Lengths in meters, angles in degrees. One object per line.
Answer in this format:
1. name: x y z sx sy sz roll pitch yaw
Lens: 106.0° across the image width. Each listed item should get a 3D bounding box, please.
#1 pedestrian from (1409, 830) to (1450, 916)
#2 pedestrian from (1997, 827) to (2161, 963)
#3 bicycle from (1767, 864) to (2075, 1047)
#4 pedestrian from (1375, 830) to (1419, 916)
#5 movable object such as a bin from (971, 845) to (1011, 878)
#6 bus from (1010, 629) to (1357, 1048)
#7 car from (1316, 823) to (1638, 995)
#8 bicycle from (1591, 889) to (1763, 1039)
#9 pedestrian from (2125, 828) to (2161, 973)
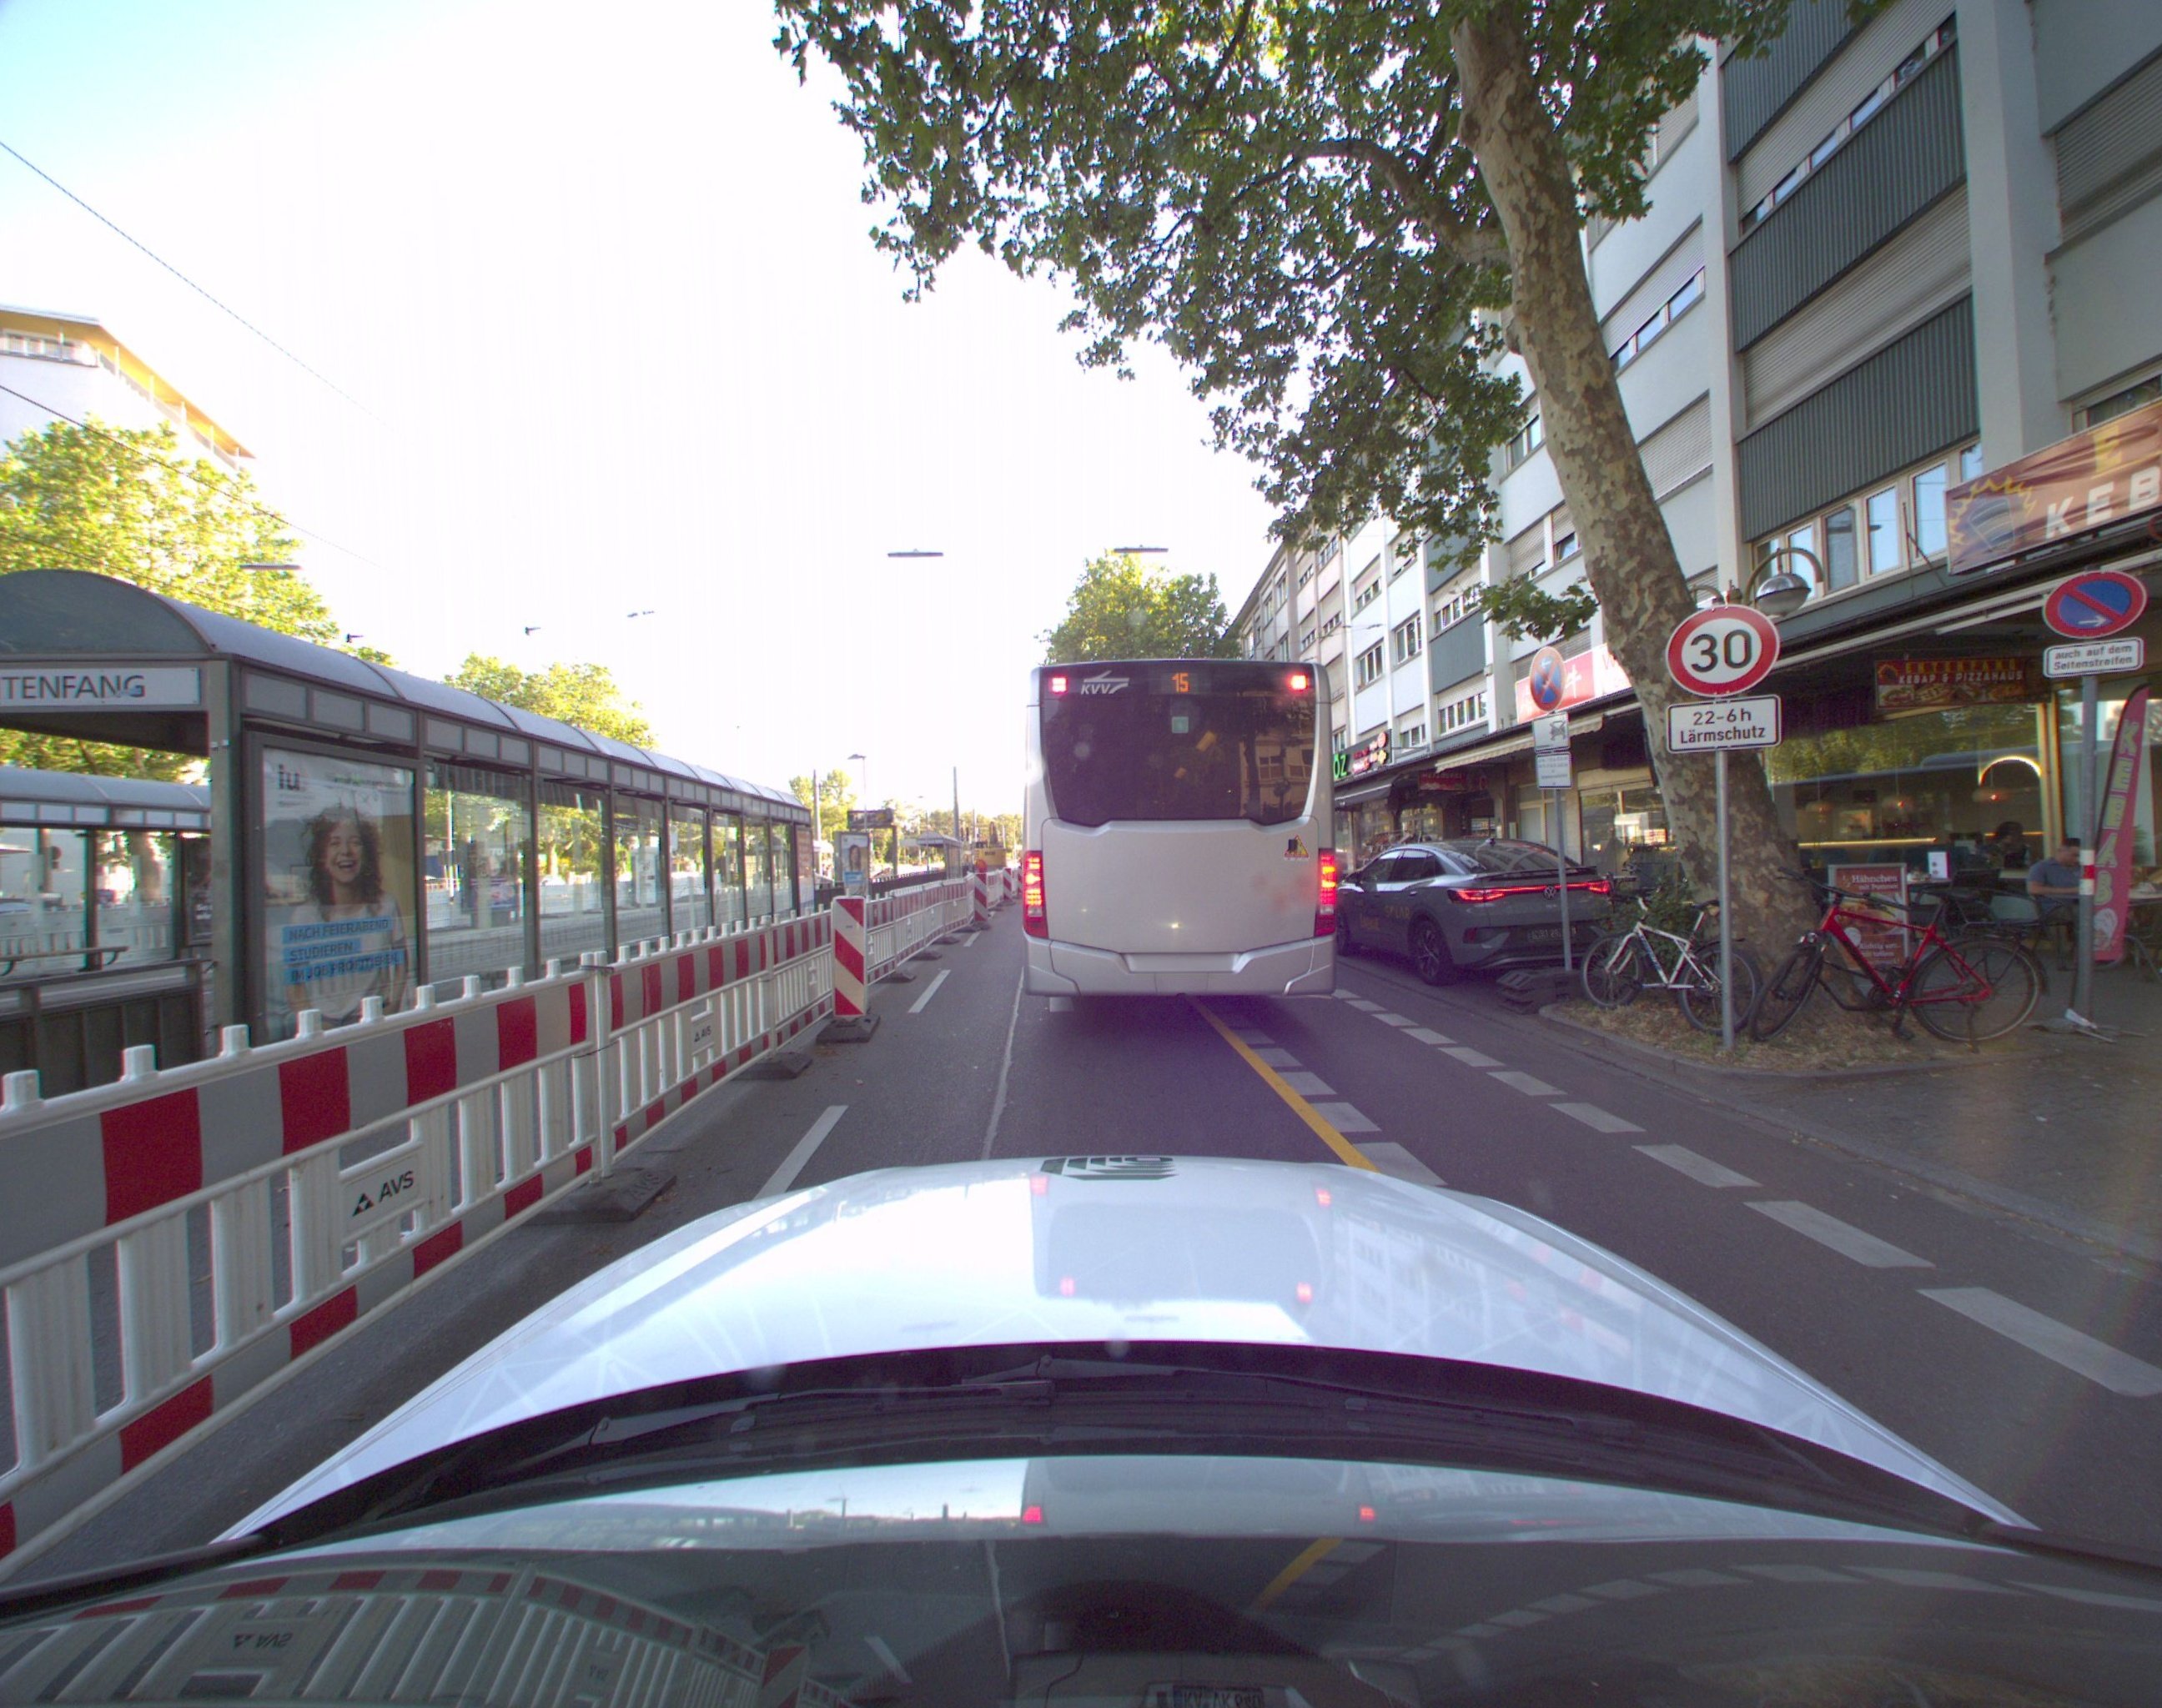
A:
1. pedestrian: 8.449 0.457 19.770 0.610 2.014 0.696 -2 -1 1
2. pedestrian: 9.628 0.383 7.861 0.673 1.203 0.706 -5 -1 11
3. bicycle: 5.499 0.674 5.383 1.450 1.066 0.297 -6 2 13
4. pedestrian: 7.583 0.446 19.560 0.689 2.014 0.696 -2 -1 -2
5. movable object such as a bin: -7.046 0.598 64.019 2.800 2.462 3.995 -2 0 -3
6. bus: 1.012 -0.112 11.420 2.598 3.170 10.298 -1 0 3
7. car: 4.608 0.561 10.326 1.736 1.597 4.294 -4 0 -3
8. bicycle: 4.486 0.786 6.202 0.294 0.927 1.127 -6 2 -8
9. pedestrian: 9.565 0.387 6.824 0.612 1.243 0.714 -5 -1 11
